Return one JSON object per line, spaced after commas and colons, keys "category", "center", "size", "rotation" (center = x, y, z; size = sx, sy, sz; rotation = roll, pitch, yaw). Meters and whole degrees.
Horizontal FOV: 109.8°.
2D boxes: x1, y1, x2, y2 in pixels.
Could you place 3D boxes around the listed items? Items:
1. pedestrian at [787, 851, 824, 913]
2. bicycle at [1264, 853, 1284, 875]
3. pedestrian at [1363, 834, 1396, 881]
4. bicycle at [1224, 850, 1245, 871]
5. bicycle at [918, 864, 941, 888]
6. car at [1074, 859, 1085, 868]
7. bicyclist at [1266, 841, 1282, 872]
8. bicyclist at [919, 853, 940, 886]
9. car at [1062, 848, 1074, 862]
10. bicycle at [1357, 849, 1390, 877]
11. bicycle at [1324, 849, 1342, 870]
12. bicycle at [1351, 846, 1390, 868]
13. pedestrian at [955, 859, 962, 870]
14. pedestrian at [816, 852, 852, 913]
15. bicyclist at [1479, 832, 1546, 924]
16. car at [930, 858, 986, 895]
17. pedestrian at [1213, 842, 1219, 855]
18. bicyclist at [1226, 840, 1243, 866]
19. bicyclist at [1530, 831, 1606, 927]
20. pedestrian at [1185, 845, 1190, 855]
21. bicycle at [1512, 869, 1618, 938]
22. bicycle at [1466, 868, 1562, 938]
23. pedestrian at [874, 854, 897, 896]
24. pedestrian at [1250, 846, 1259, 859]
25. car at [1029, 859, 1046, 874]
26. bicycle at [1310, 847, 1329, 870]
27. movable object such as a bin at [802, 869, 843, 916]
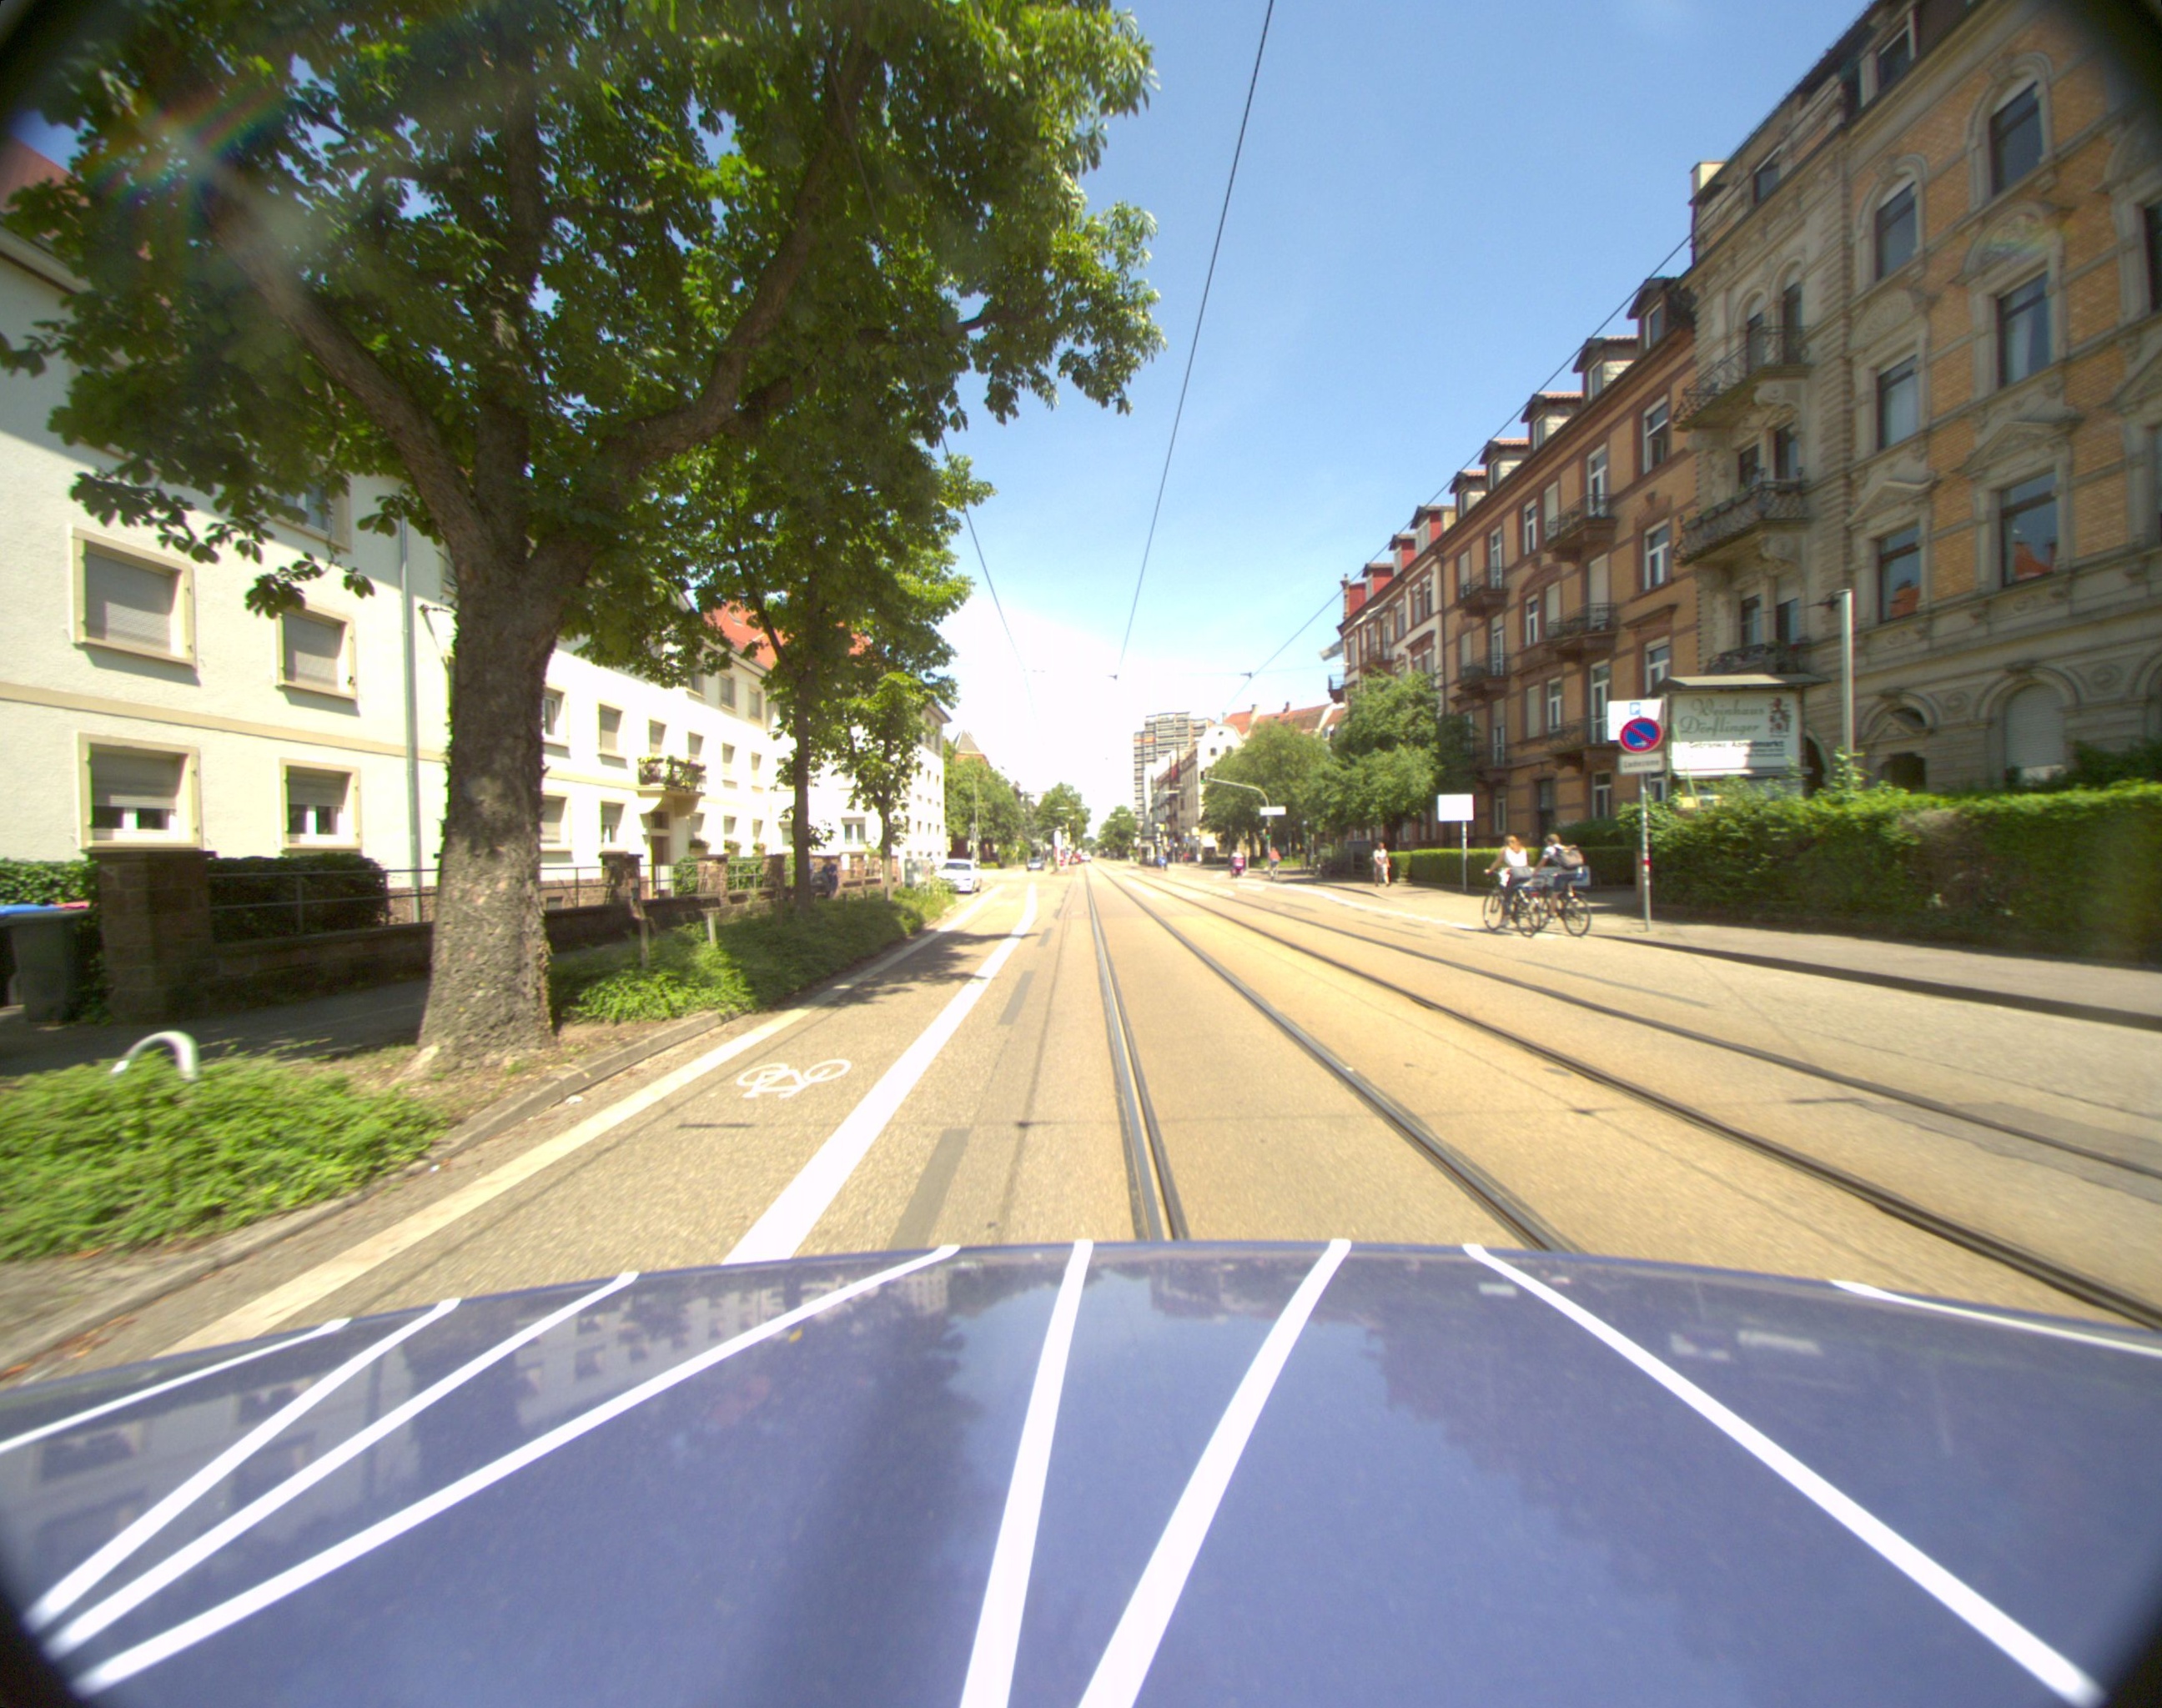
{"category": "pedestrian", "center": [-7.666, 0.764, 21.160], "size": [0.699, 1.660, 0.756], "rotation": [2, 1, -1]}
{"category": "bicycle", "center": [9.614, 0.494, 37.850], "size": [0.569, 1.032, 1.829], "rotation": [0, 0, 1]}
{"category": "pedestrian", "center": [11.000, 0.114, 28.027], "size": [0.874, 1.690, 1.013], "rotation": [-1, 1, 6]}
{"category": "bicycle", "center": [9.460, 0.393, 46.843], "size": [0.809, 1.264, 2.550], "rotation": [0, 0, 1]}
{"category": "bicycle", "center": [-6.898, 0.998, 34.682], "size": [0.603, 1.045, 1.823], "rotation": [0, 0, 2]}
{"category": "car", "center": [-0.198, 1.605, 128.816], "size": [1.737, 1.543, 4.423], "rotation": [0, 0, -2]}
{"category": "bicyclist", "center": [9.614, 0.134, 37.848], "size": [0.564, 1.507, 0.892], "rotation": [0, 1, 1]}
{"category": "bicyclist", "center": [-6.906, 0.701, 34.672], "size": [0.712, 1.443, 1.010], "rotation": [0, 1, 2]}
{"category": "car", "center": [-2.488, 0.118, 141.987], "size": [2.237, 2.478, 5.265], "rotation": [0, 1, -2]}
{"category": "bicycle", "center": [11.765, 0.352, 30.616], "size": [0.639, 1.087, 1.931], "rotation": [-3, 0, 3]}
{"category": "bicycle", "center": [12.670, 0.280, 38.212], "size": [0.460, 1.050, 1.565], "rotation": [-1, 0, 3]}
{"category": "bicycle", "center": [13.473, 0.146, 35.385], "size": [1.650, 0.990, 0.495], "rotation": [-1, 1, 2]}
{"category": "pedestrian", "center": [-12.671, 1.043, 78.416], "size": [0.652, 1.143, 0.642], "rotation": [-1, 1, -16]}
{"category": "pedestrian", "center": [-6.951, 0.787, 21.415], "size": [0.699, 1.660, 0.869], "rotation": [2, 1, -1]}
{"category": "bicyclist", "center": [7.445, 0.404, 13.148], "size": [0.594, 1.535, 0.952], "rotation": [1, 1, 0]}
{"category": "car", "center": [-5.362, 0.937, 33.703], "size": [1.782, 1.402, 4.156], "rotation": [4, 0, -1]}
{"category": "pedestrian", "center": [16.004, -0.654, 90.057], "size": [0.537, 1.433, 0.520], "rotation": [0, 1, -10]}
{"category": "bicyclist", "center": [9.462, -0.059, 46.831], "size": [0.809, 1.620, 0.980], "rotation": [0, 1, 1]}
{"category": "bicyclist", "center": [8.366, 0.413, 13.096], "size": [0.635, 1.575, 1.028], "rotation": [1, 1, 0]}
{"category": "pedestrian", "center": [15.527, -0.575, 110.641], "size": [0.537, 1.433, 0.520], "rotation": [0, 1, -10]}
{"category": "bicycle", "center": [8.360, 0.824, 13.230], "size": [0.630, 1.072, 1.875], "rotation": [1, 0, 0]}
{"category": "bicycle", "center": [7.443, 0.810, 13.166], "size": [0.583, 1.072, 1.890], "rotation": [1, 0, 0]}
{"category": "pedestrian", "center": [-7.755, 0.831, 30.218], "size": [0.699, 1.660, 0.756], "rotation": [-1, 1, -1]}
{"category": "pedestrian", "center": [17.827, -0.145, 77.987], "size": [0.822, 1.309, 0.652], "rotation": [-1, 1, 6]}
{"category": "car", "center": [-4.847, 1.389, 84.215], "size": [1.737, 1.543, 4.423], "rotation": [0, 0, -2]}
{"category": "bicycle", "center": [12.659, 0.233, 40.367], "size": [0.574, 1.162, 1.716], "rotation": [-1, 0, 3]}
{"category": "movable object such as a bin", "center": [-6.946, 1.024, 20.462], "size": [0.699, 1.179, 1.036], "rotation": [2, 0, -1]}
